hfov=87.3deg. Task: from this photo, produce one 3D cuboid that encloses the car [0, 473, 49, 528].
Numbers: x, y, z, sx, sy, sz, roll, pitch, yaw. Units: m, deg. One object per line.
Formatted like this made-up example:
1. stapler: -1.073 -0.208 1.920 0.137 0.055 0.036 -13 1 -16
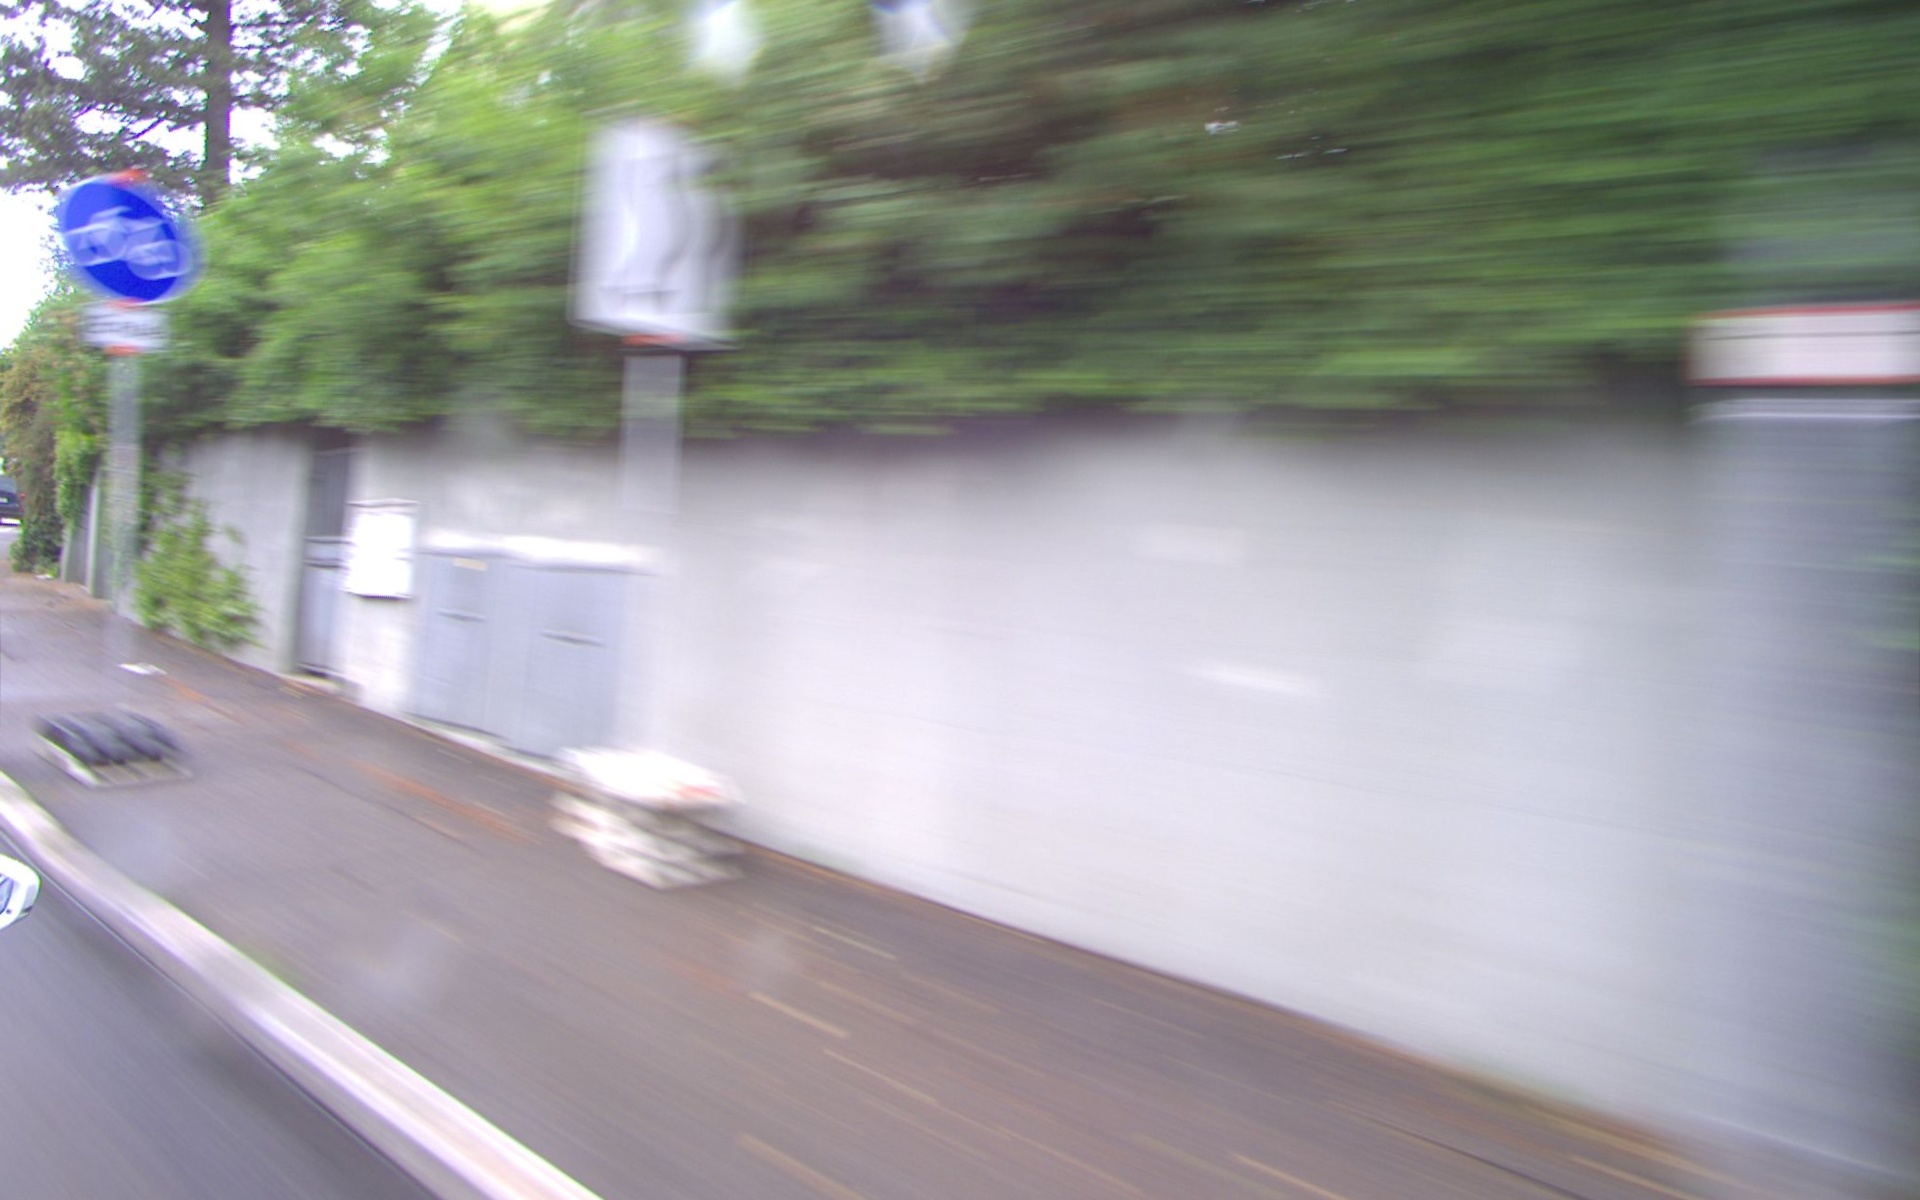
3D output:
1. car: -35.452 -3.713 37.488 1.717 1.921 4.017 1 3 -35
